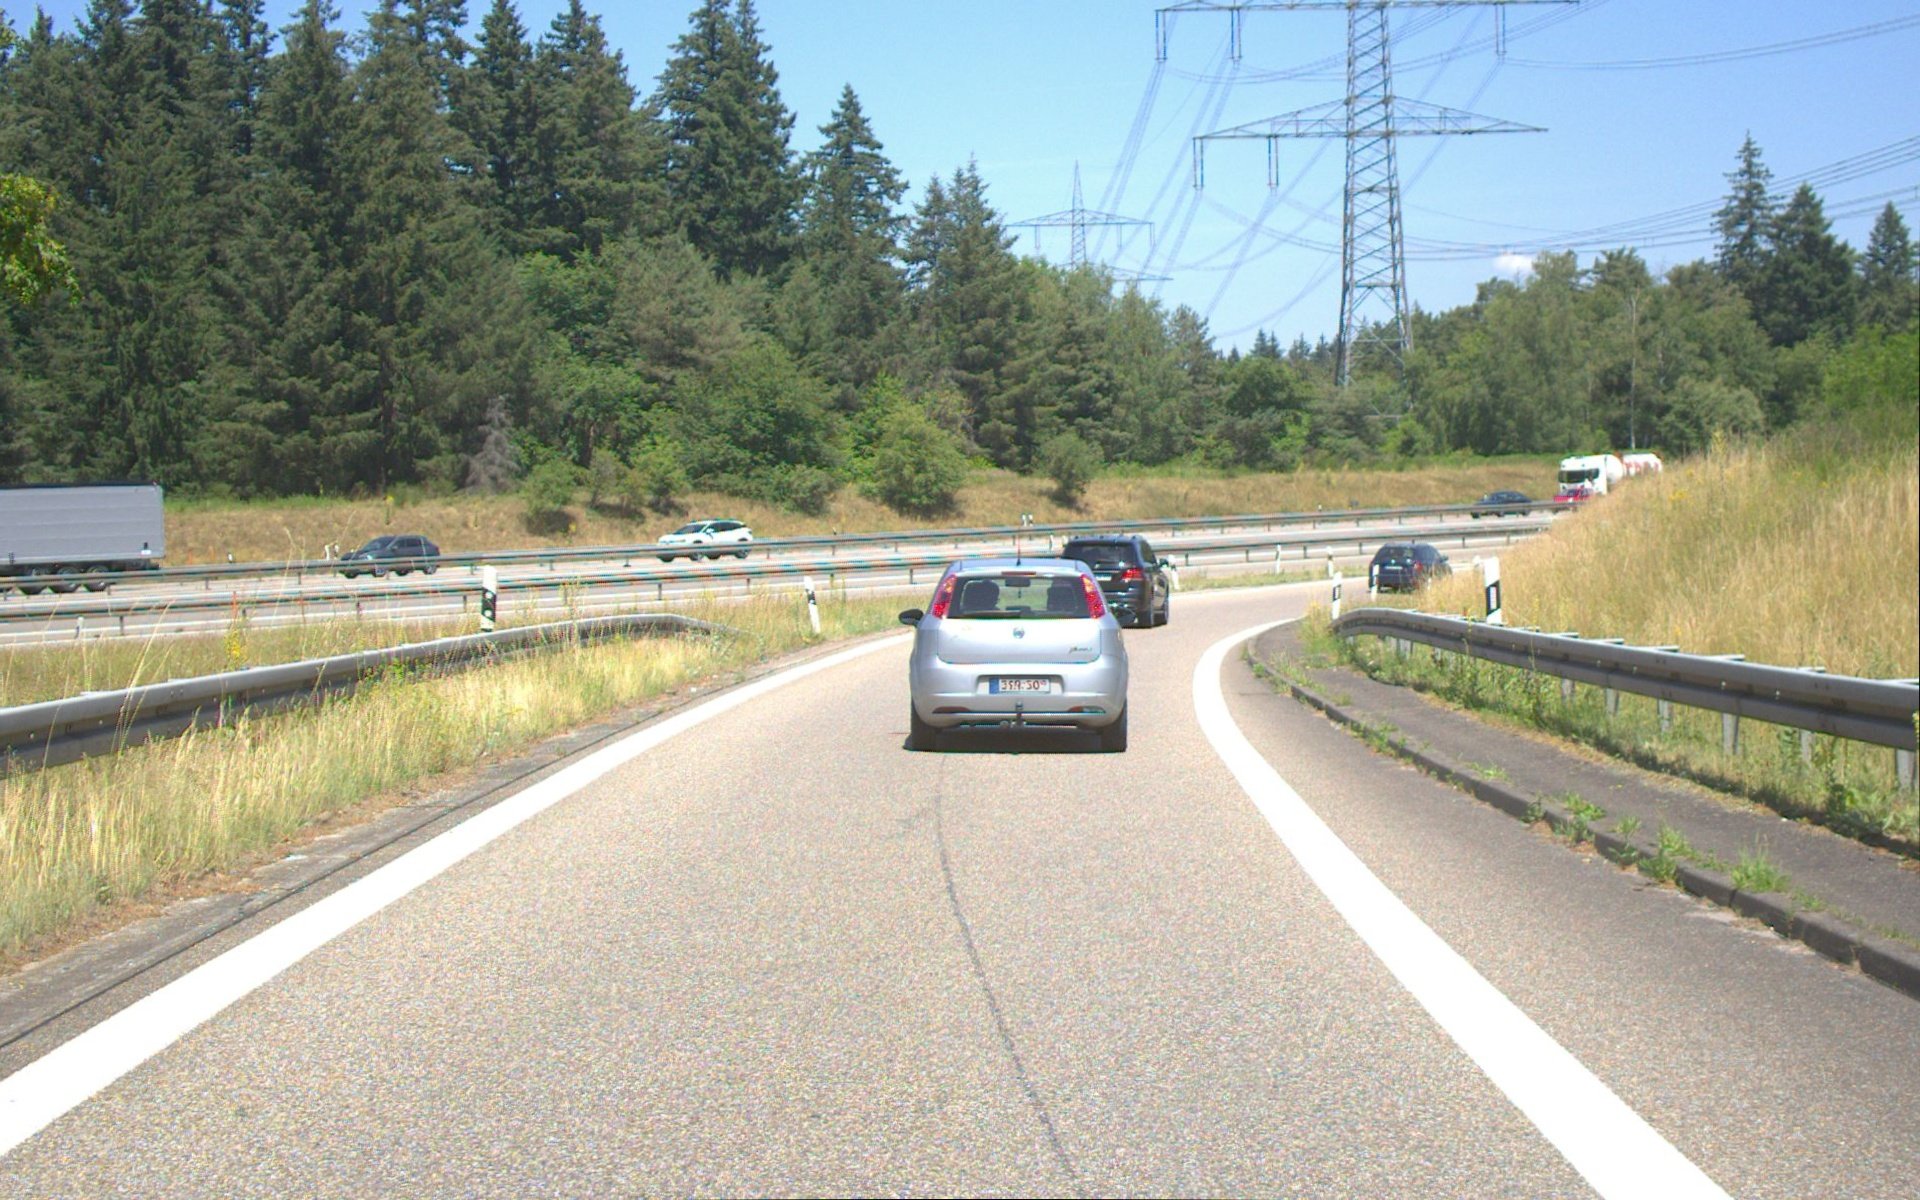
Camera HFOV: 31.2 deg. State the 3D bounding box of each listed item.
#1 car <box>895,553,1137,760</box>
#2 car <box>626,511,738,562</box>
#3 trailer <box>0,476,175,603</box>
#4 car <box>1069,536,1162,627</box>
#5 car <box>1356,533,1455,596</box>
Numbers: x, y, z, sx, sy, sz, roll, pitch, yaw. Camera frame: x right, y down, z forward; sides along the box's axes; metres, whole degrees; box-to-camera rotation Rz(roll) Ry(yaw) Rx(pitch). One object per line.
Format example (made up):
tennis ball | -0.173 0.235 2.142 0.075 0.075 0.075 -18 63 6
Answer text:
car | 0.383 0.396 27.272 1.706 1.476 3.398 1 1 -2
car | -11.208 -2.579 138.660 1.998 1.842 4.349 1 4 39
trailer | -34.671 -2.081 122.153 2.931 4.372 14.265 -1 1 39
car | 3.004 -0.381 66.078 1.706 1.670 3.397 0 1 4
car | 13.136 -1.059 101.266 1.884 1.678 3.996 -2 1 22
